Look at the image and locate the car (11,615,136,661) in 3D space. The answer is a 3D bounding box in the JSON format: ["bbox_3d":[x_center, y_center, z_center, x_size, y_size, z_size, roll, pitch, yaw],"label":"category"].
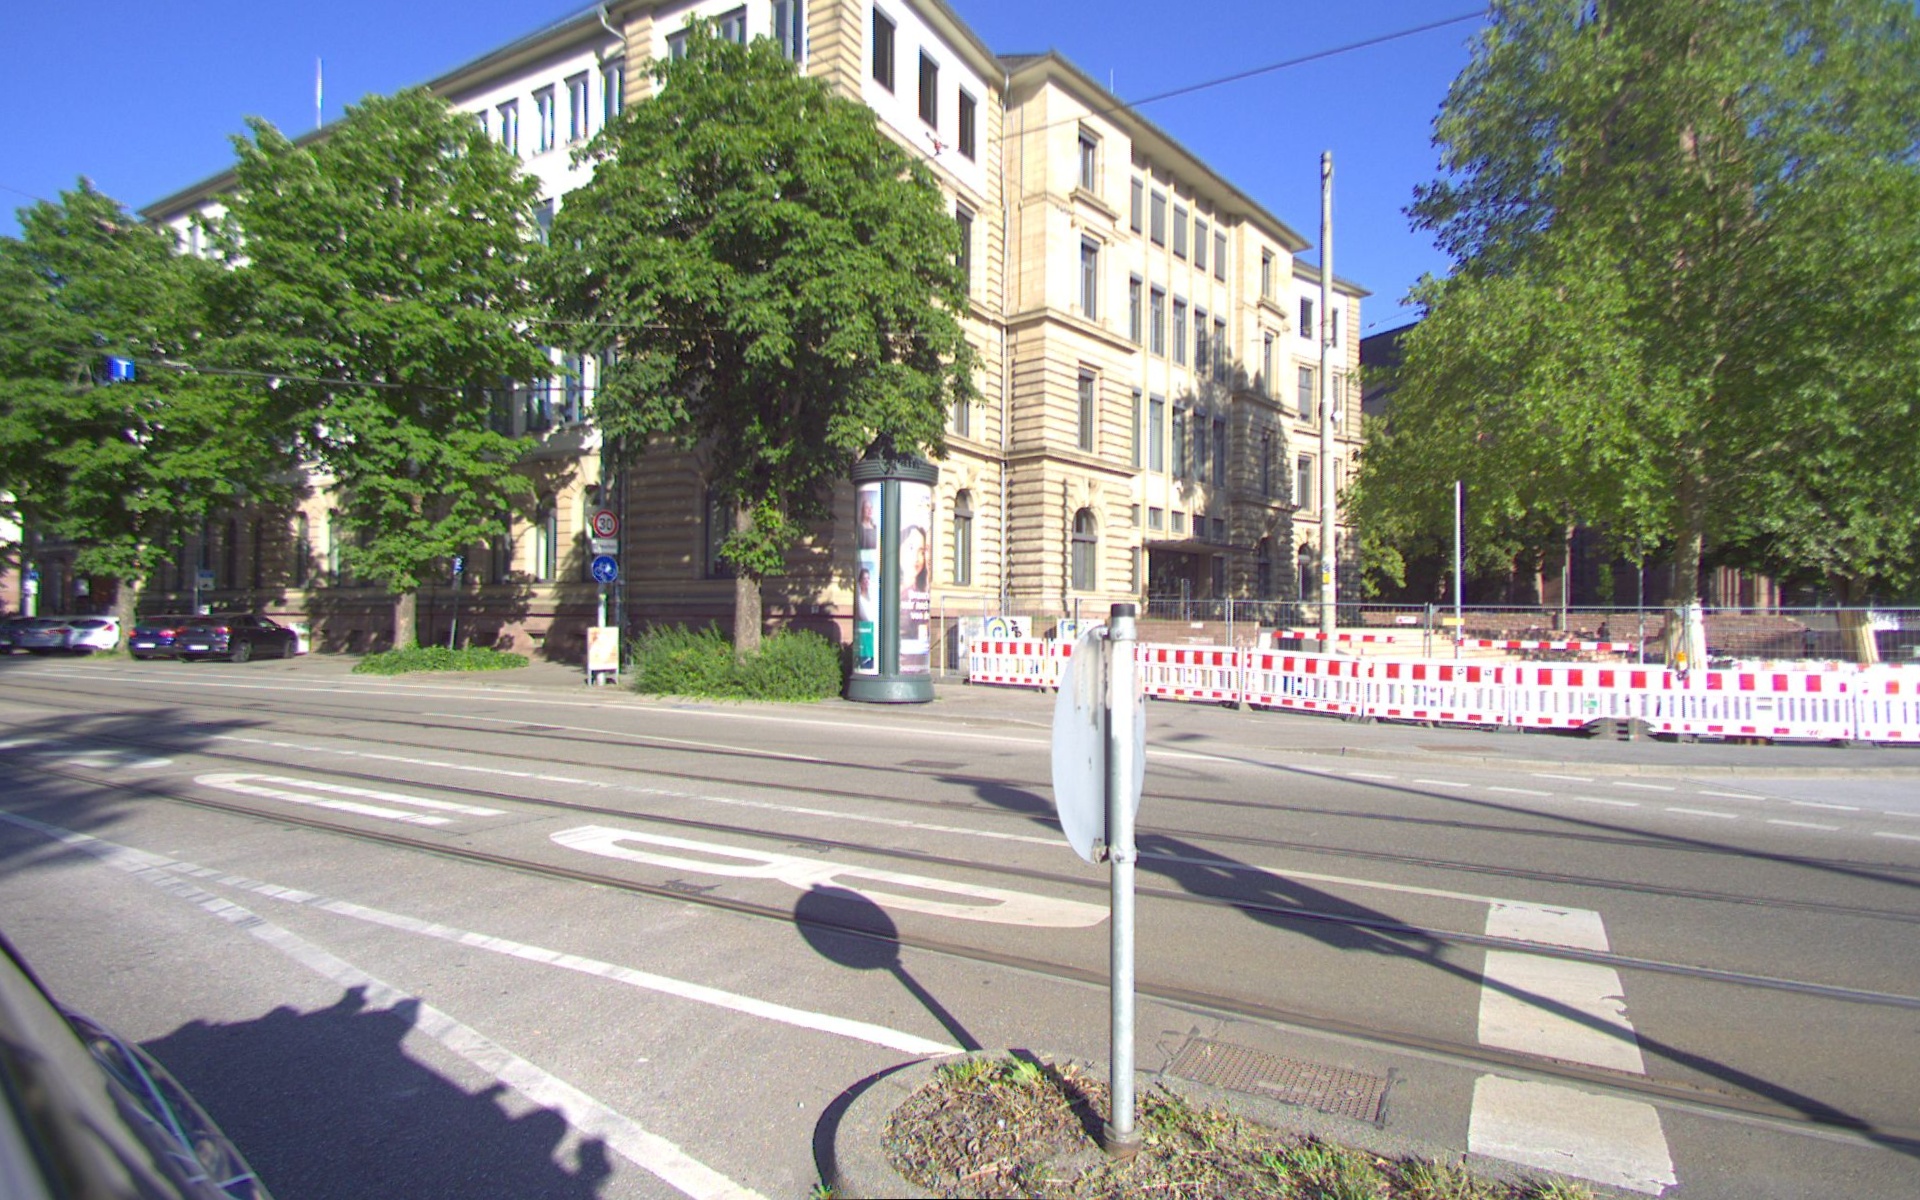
[{"bbox_3d":[-33.230,1.394,38.065,1.626,1.572,3.652,-1,0,-3],"label":"car"}]

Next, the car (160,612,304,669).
[{"bbox_3d":[-23.617,1.263,33.035,1.819,1.643,4.184,-1,0,-3],"label":"car"}]

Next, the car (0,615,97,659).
[{"bbox_3d":[-36.246,1.416,39.773,1.626,1.572,3.652,-1,0,-3],"label":"car"}]

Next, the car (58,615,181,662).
[{"bbox_3d":[-30.917,1.376,37.354,1.626,1.572,3.652,-1,0,-3],"label":"car"}]

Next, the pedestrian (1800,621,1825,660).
[{"bbox_3d":[36.837,1.729,43.715,0.666,1.660,0.762,1,-2,-45],"label":"pedestrian"}]

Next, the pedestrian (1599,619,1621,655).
[{"bbox_3d":[30.575,1.731,47.584,0.627,1.660,0.677,1,-2,-37],"label":"pedestrian"}]

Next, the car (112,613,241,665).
[{"bbox_3d":[-26.246,1.273,34.037,1.626,1.572,3.652,-1,0,-3],"label":"car"}]
